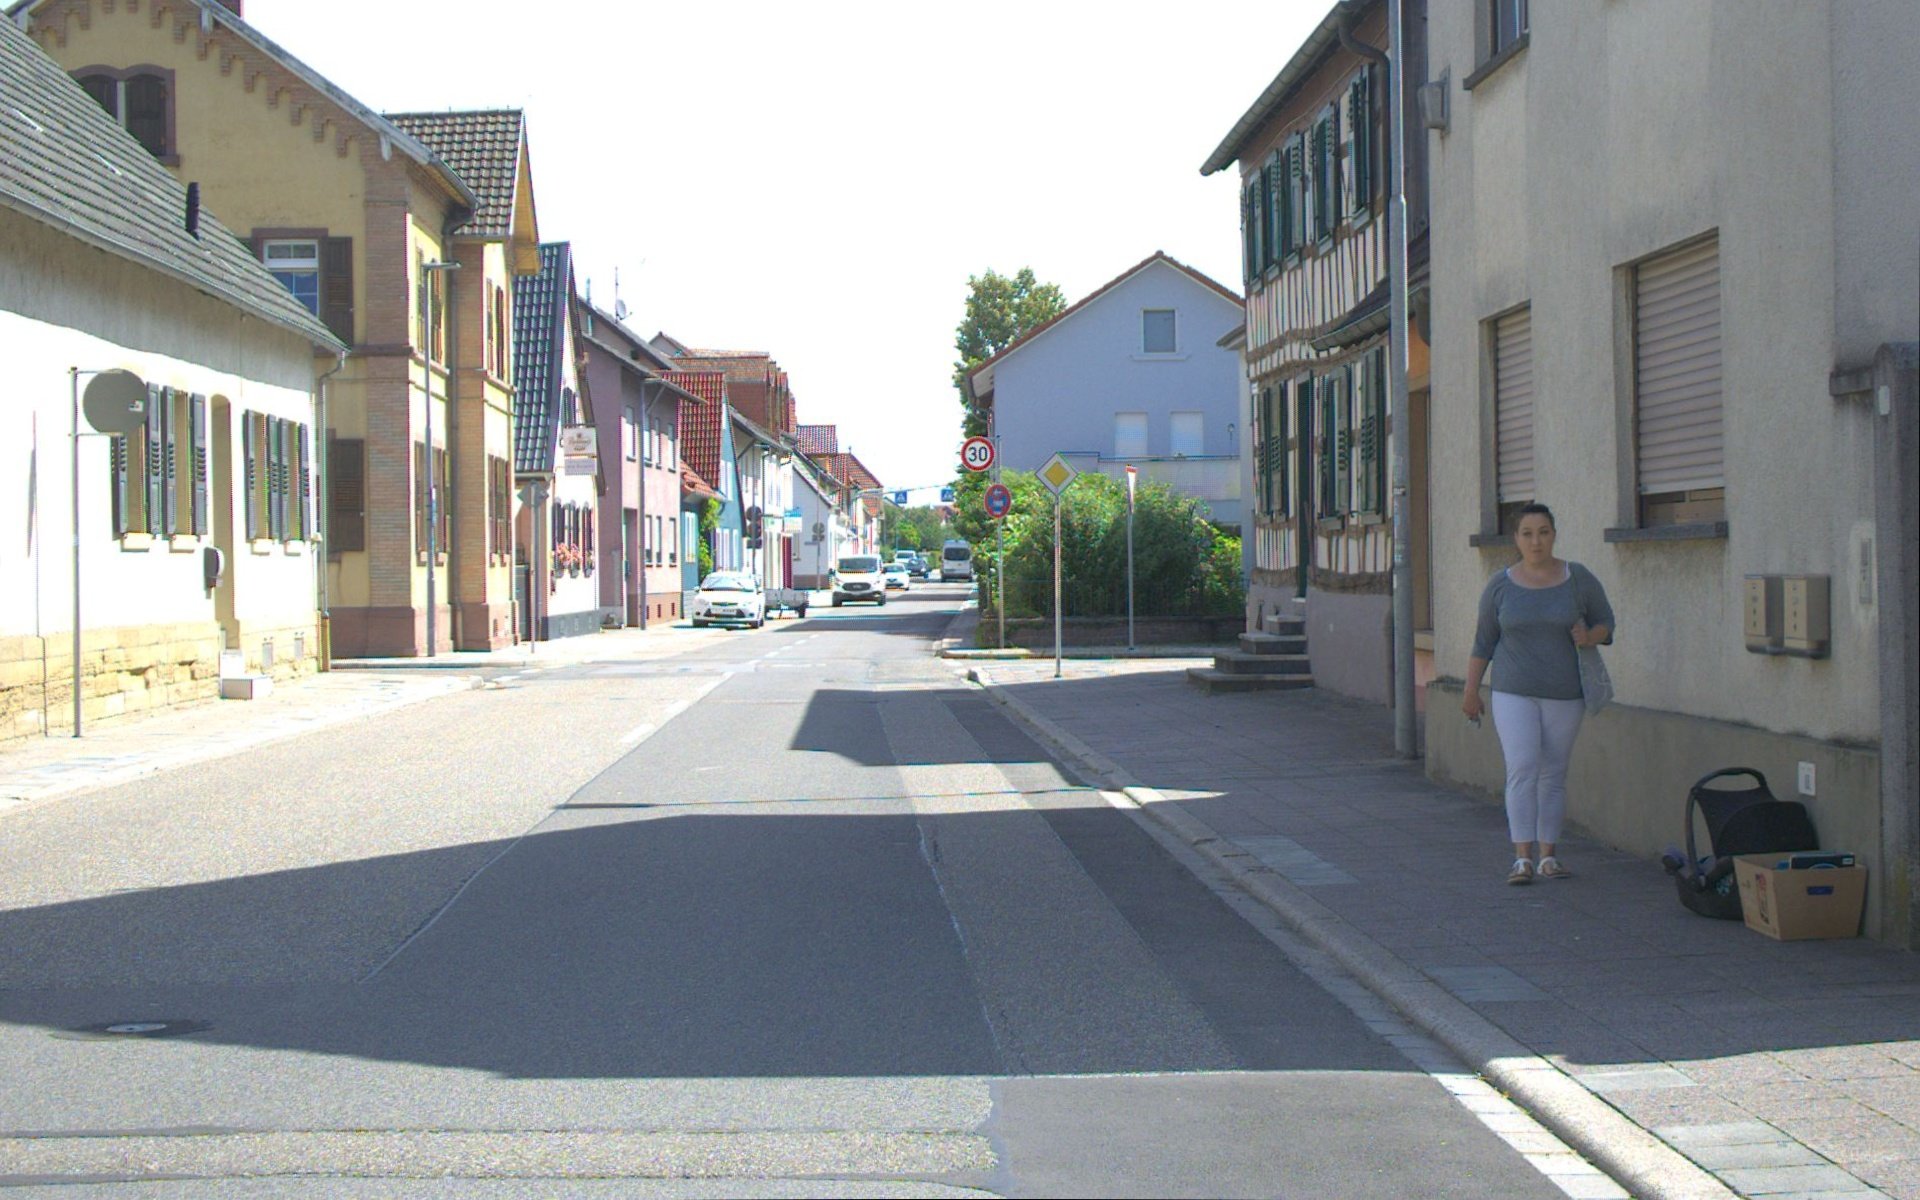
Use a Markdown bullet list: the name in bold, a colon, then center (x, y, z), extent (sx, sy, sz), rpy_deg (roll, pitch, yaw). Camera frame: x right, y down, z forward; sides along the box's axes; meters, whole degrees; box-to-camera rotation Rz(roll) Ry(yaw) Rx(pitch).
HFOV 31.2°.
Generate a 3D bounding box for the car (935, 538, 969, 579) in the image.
- **car**: center (-0.507, -2.607, 215.671), extent (2.017, 2.559, 4.000), rpy_deg (-1, 1, -2)

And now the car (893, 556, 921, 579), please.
- **car**: center (-3.751, -2.309, 243.286), extent (1.867, 1.539, 3.838), rpy_deg (-2, 1, -1)

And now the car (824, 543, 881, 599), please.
- **car**: center (-4.181, -1.114, 133.359), extent (2.158, 2.073, 4.000), rpy_deg (-1, -1, -2)

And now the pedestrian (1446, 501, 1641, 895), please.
- **pedestrian**: center (2.521, 0.406, 14.925), extent (0.719, 1.658, 0.892), rpy_deg (0, 1, 2)

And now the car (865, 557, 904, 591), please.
- **car**: center (-3.933, -1.370, 180.457), extent (1.993, 1.744, 4.000), rpy_deg (0, 1, -1)

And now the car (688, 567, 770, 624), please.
- **car**: center (-6.219, -0.143, 93.028), extent (1.993, 1.437, 4.000), rpy_deg (-1, 1, -1)

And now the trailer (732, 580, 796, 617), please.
- **trailer**: center (-6.237, -0.049, 109.729), extent (1.993, 1.086, 4.001), rpy_deg (0, 1, -2)
